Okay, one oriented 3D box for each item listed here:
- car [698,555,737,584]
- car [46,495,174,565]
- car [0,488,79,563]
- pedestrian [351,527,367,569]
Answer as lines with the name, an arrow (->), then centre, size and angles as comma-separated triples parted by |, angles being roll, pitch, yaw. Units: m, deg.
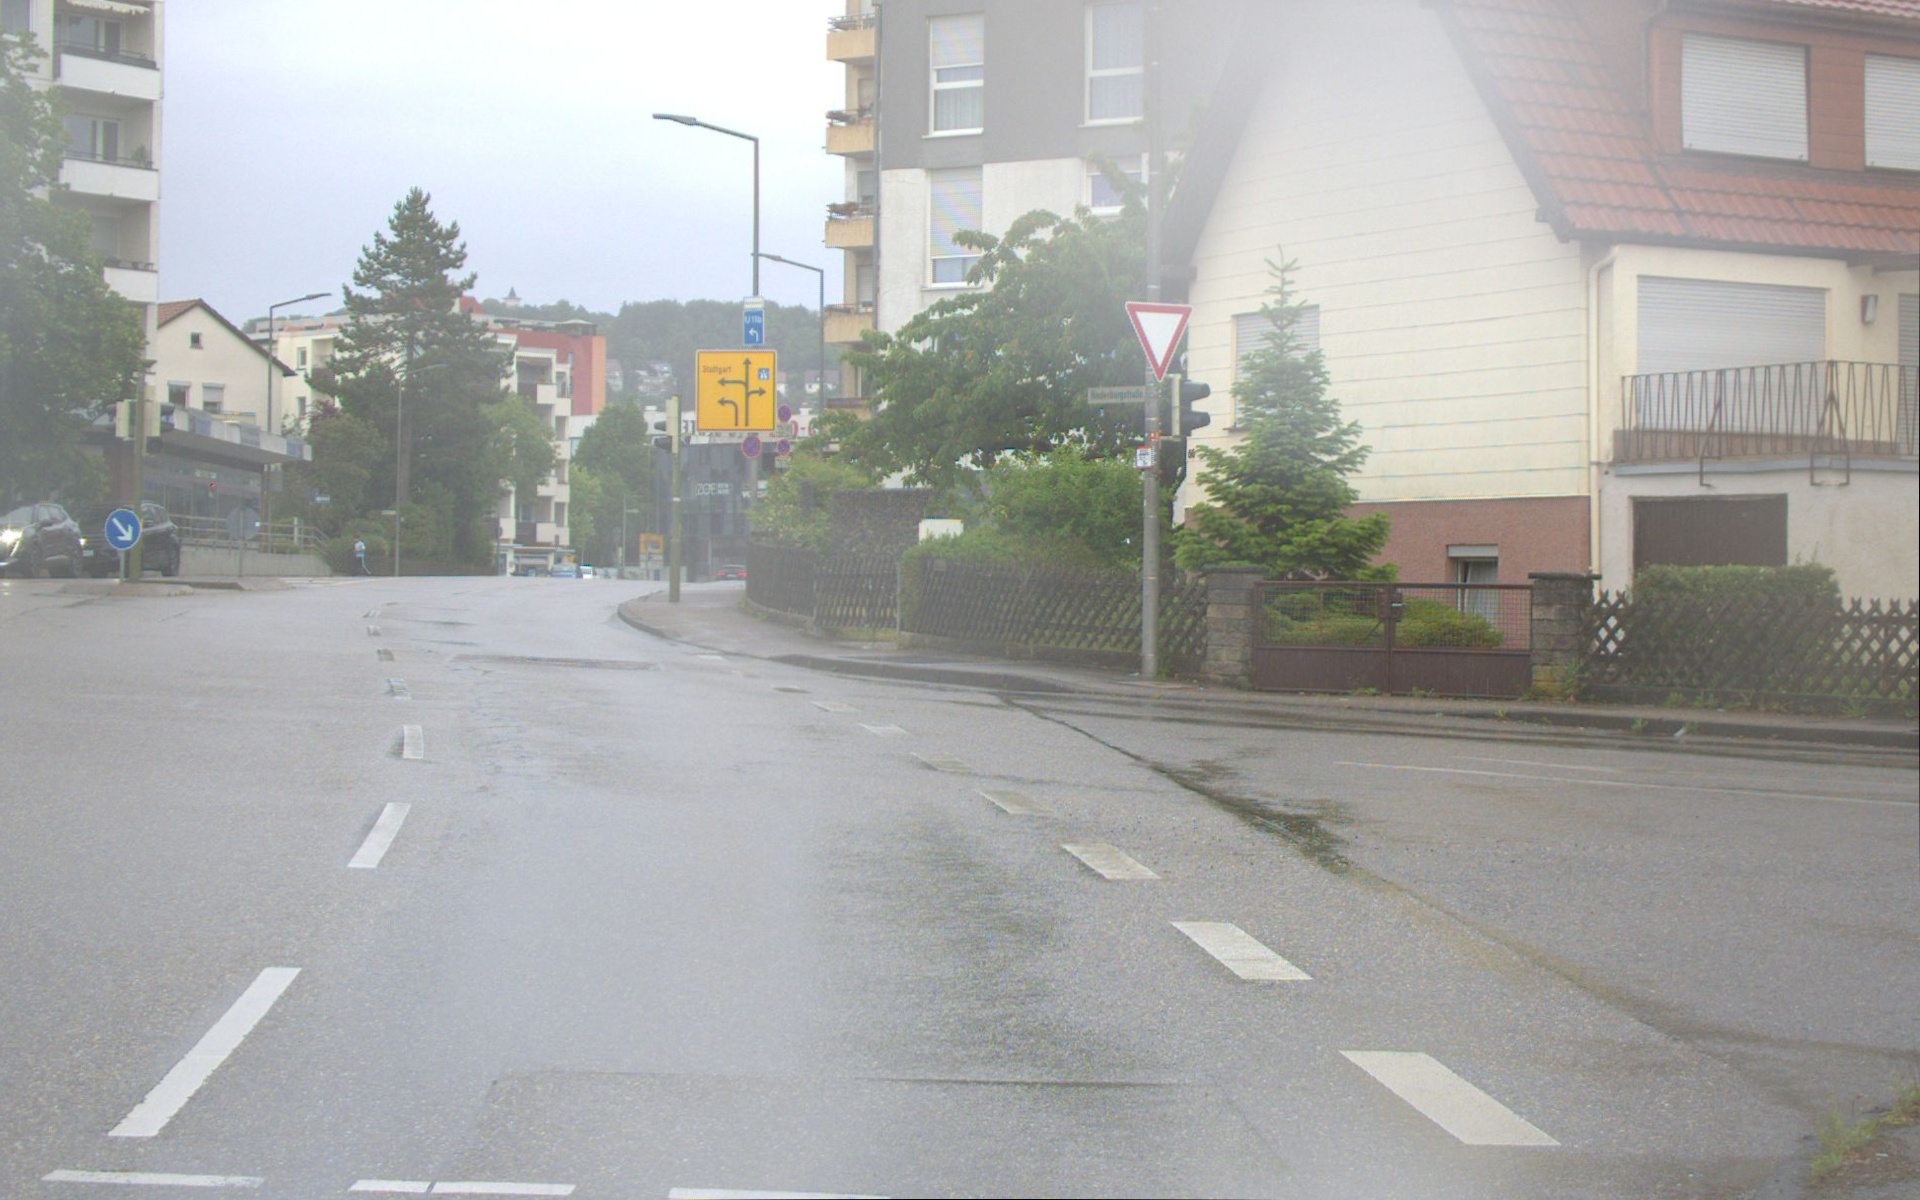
car -> -13.126, -1.676, 186.155 | 1.813, 1.481, 4.189 | 0, 1, 0
car -> -17.863, -1.484, 72.410 | 1.778, 1.415, 3.831 | 1, 2, -1
car -> -18.254, -1.447, 65.952 | 1.715, 1.382, 4.021 | 1, 2, -1
pedestrian -> -23.835, -2.065, 136.434 | 0.497, 1.652, 0.434 | 1, 1, 5
